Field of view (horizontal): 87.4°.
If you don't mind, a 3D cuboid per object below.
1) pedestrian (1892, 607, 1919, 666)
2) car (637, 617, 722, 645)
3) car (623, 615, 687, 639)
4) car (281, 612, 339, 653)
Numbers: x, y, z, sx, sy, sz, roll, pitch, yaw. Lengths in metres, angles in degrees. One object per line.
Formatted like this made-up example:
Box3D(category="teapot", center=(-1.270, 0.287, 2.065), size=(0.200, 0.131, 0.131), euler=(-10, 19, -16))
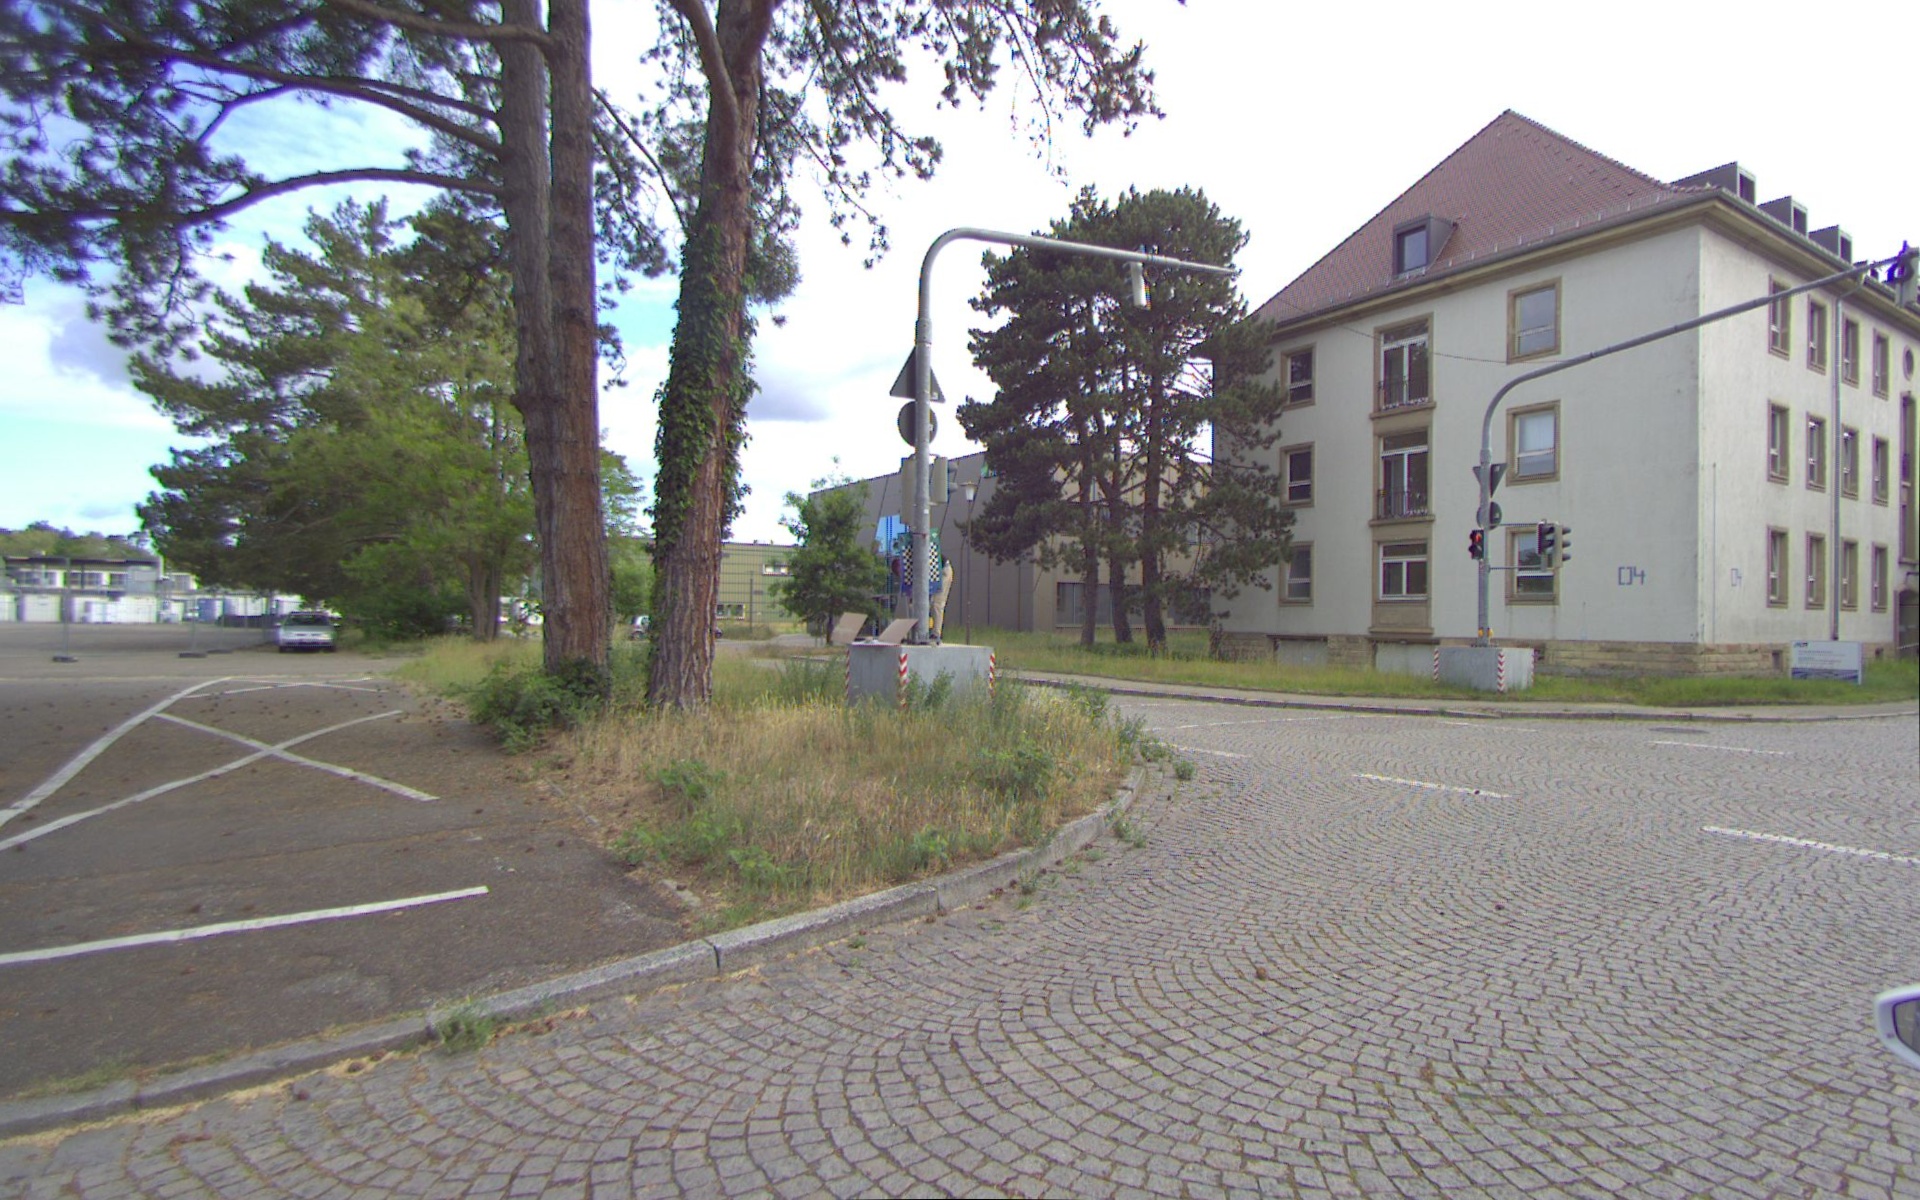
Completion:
Box3D(category="pedestrian", center=(33.135, 1.258, 34.736), size=(1.009, 2.040, 1.083), euler=(1, -1, -27))
Box3D(category="car", center=(-16.417, 1.800, 58.862), size=(4.409, 1.449, 1.983), euler=(-1, 0, -32))
Box3D(category="car", center=(-19.886, 1.749, 65.420), size=(3.618, 1.449, 1.983), euler=(-1, 0, -32))
Box3D(category="car", center=(-23.650, 1.154, 36.506), size=(1.680, 1.410, 3.962), euler=(1, -1, -34))
